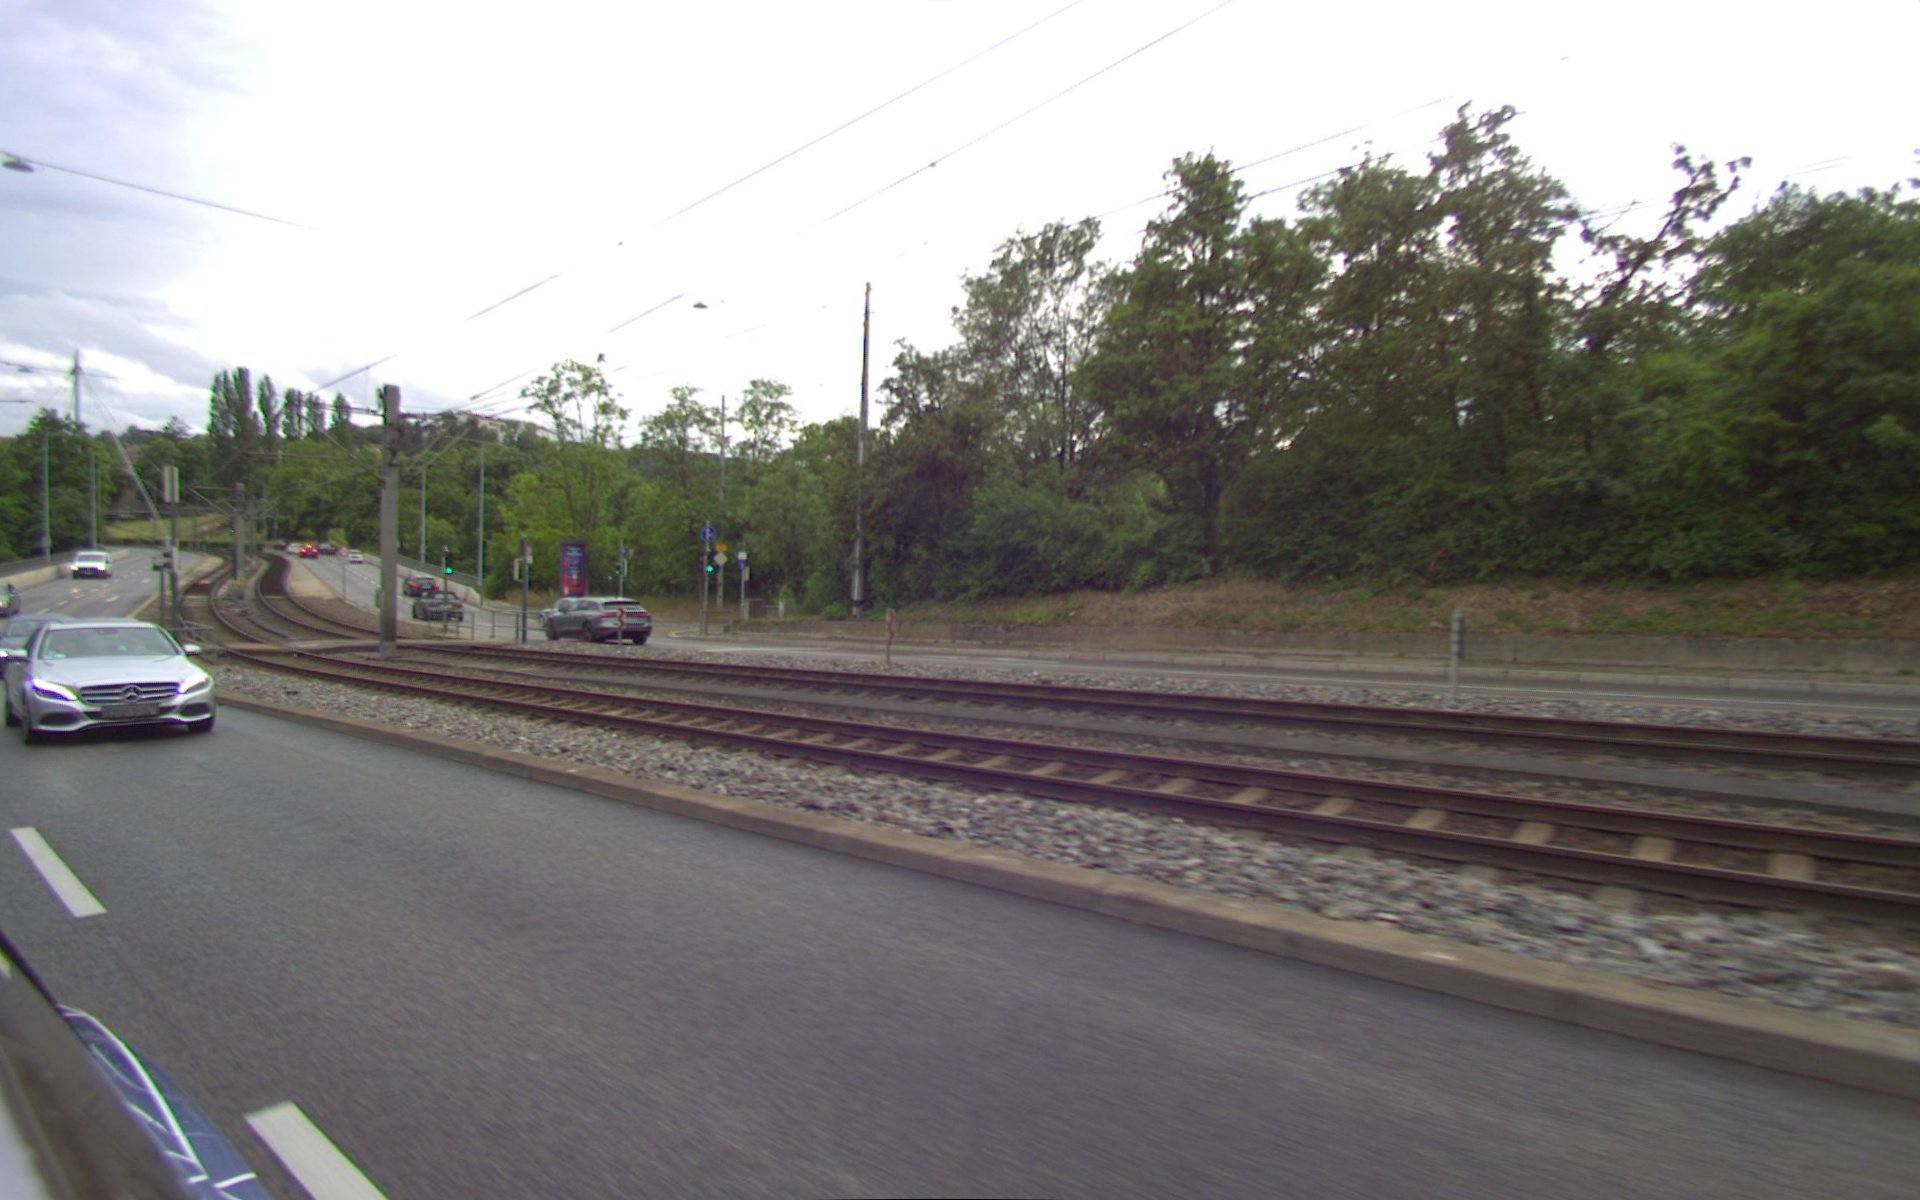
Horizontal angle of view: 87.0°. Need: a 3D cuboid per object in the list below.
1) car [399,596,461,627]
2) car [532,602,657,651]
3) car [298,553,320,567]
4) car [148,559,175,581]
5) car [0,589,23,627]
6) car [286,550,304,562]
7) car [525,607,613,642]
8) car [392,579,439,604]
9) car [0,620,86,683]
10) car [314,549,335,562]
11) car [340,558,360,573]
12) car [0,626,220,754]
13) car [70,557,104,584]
[{"bbox_3d":[-25.632,0.539,48.917,1.613,1.395,3.898,2,-1,-44],"label":"car"},{"bbox_3d":[-11.780,0.853,32.453,4.857,1.449,1.840,-2,-2,44],"label":"car"},{"bbox_3d":[-81.159,-4.986,126.158,1.824,1.609,4.742,1,2,-38],"label":"car"},{"bbox_3d":[-69.310,-2.596,87.815,1.741,1.830,4.007,-2,2,-39],"label":"car"},{"bbox_3d":[-41.942,0.311,43.750,1.741,1.512,4.009,0,2,-38],"label":"car"},{"bbox_3d":[-89.586,-5.928,136.265,1.707,1.447,4.502,1,3,-38],"label":"car"},{"bbox_3d":[-16.650,1.029,42.985,1.798,1.390,4.708,1,-1,-44],"label":"car"},{"bbox_3d":[-36.584,-0.586,67.962,1.696,1.469,4.279,0,3,-44],"label":"car"},{"bbox_3d":[-22.448,1.184,24.300,3.999,1.362,1.713,-1,0,42],"label":"car"},{"bbox_3d":[-86.858,-6.053,138.226,1.943,1.609,5.196,1,2,-38],"label":"car"},{"bbox_3d":[-69.406,-3.901,115.092,1.796,1.526,4.543,0,3,-33],"label":"car"},{"bbox_3d":[-11.154,1.033,13.139,4.061,1.366,1.846,-1,-1,44],"label":"car"},{"bbox_3d":[-63.162,-2.114,73.262,1.741,1.830,4.007,-2,1,-39],"label":"car"}]
